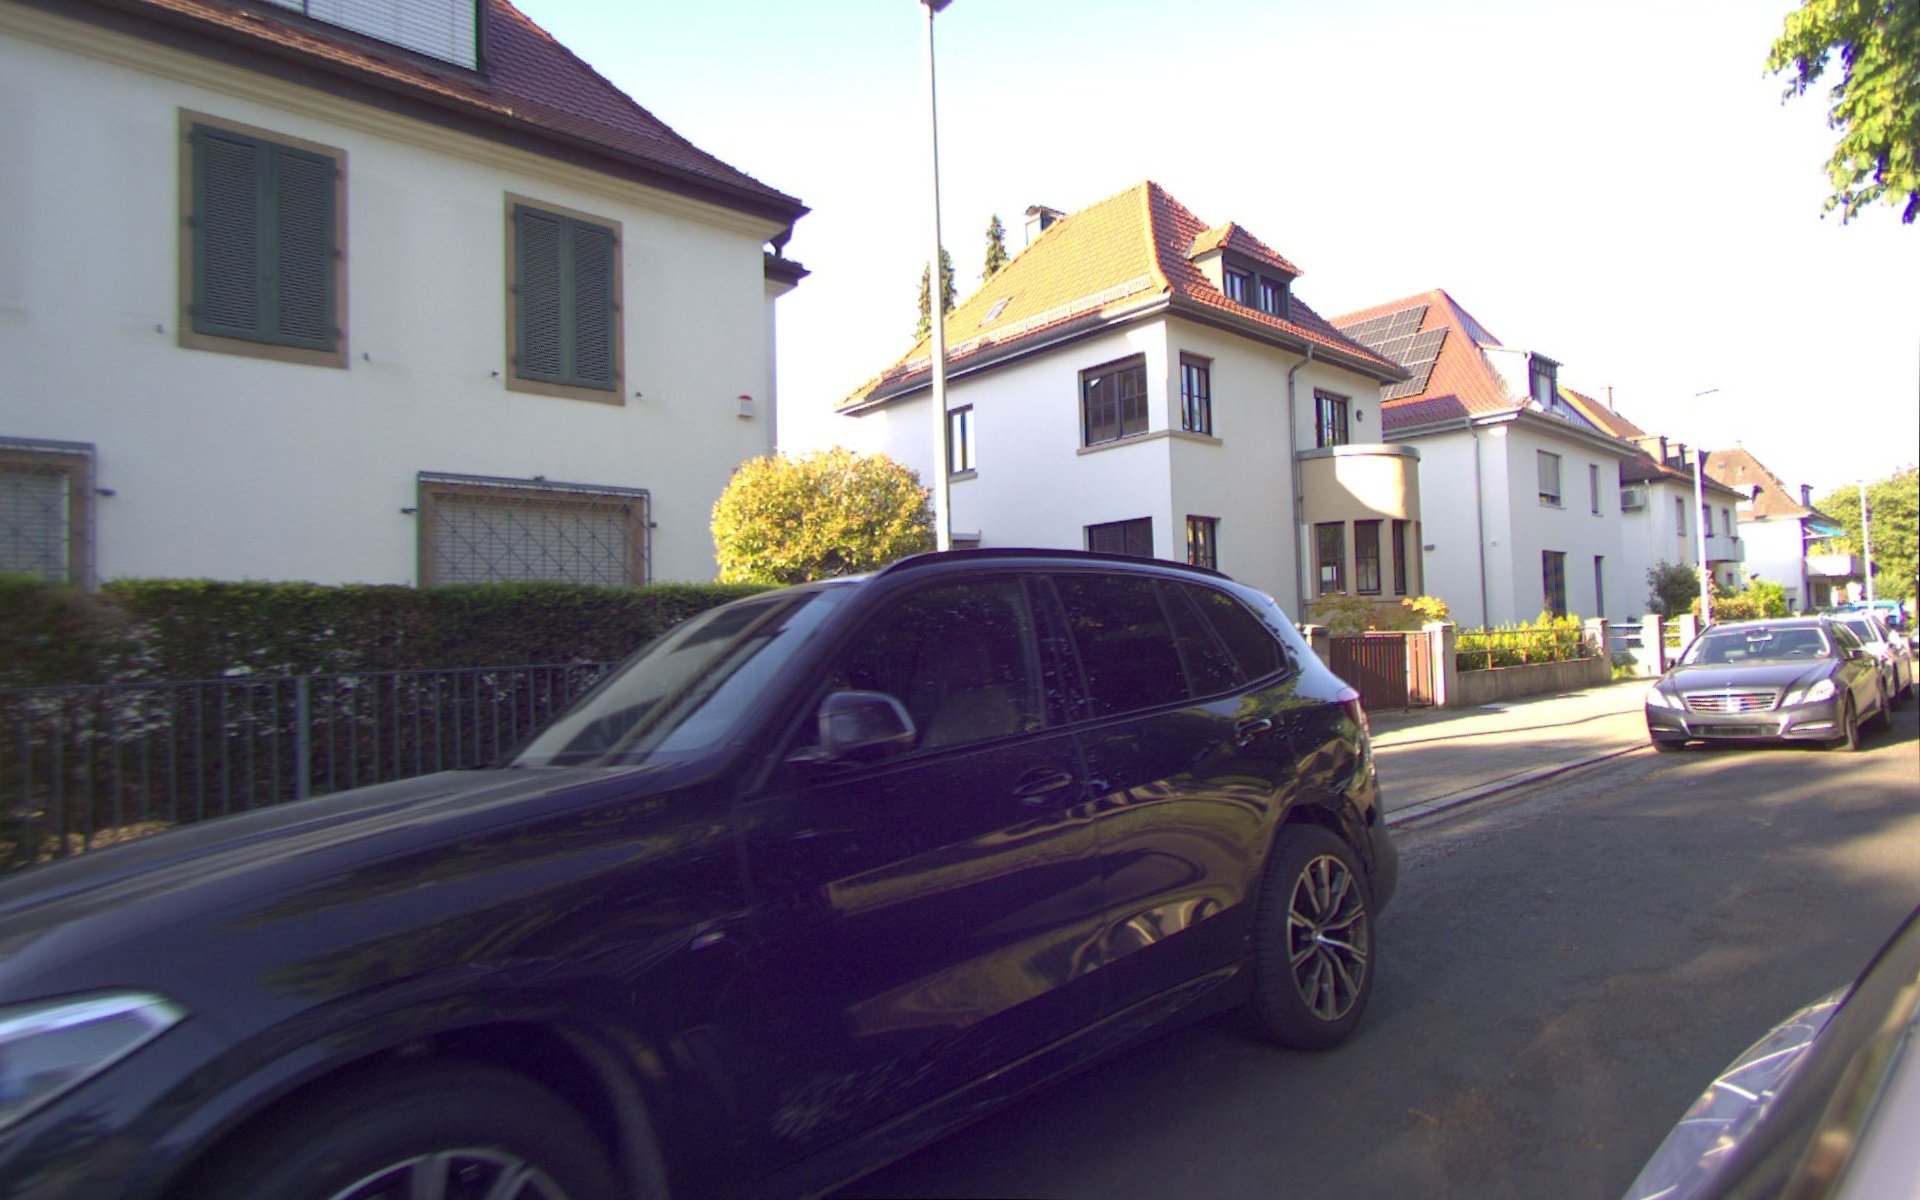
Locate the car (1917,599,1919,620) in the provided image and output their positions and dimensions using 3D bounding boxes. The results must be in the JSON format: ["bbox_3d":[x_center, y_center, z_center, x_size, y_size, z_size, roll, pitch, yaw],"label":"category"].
[{"bbox_3d":[29.230,0.656,29.311,4.323,1.519,1.780,0,-5,-43],"label":"car"}]

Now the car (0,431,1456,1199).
[{"bbox_3d":[-0.393,0.709,3.357,4.781,1.760,1.995,0,-3,-43],"label":"car"}]

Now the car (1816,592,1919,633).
[{"bbox_3d":[47.071,0.682,52.397,1.967,1.953,3.988,1,-3,-44],"label":"car"}]

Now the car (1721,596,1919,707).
[{"bbox_3d":[14.085,0.793,16.365,4.474,1.483,1.994,0,-6,-44],"label":"car"}]

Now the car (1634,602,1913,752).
[{"bbox_3d":[9.951,0.845,12.245,4.514,1.482,1.781,0,-5,-42],"label":"car"}]
